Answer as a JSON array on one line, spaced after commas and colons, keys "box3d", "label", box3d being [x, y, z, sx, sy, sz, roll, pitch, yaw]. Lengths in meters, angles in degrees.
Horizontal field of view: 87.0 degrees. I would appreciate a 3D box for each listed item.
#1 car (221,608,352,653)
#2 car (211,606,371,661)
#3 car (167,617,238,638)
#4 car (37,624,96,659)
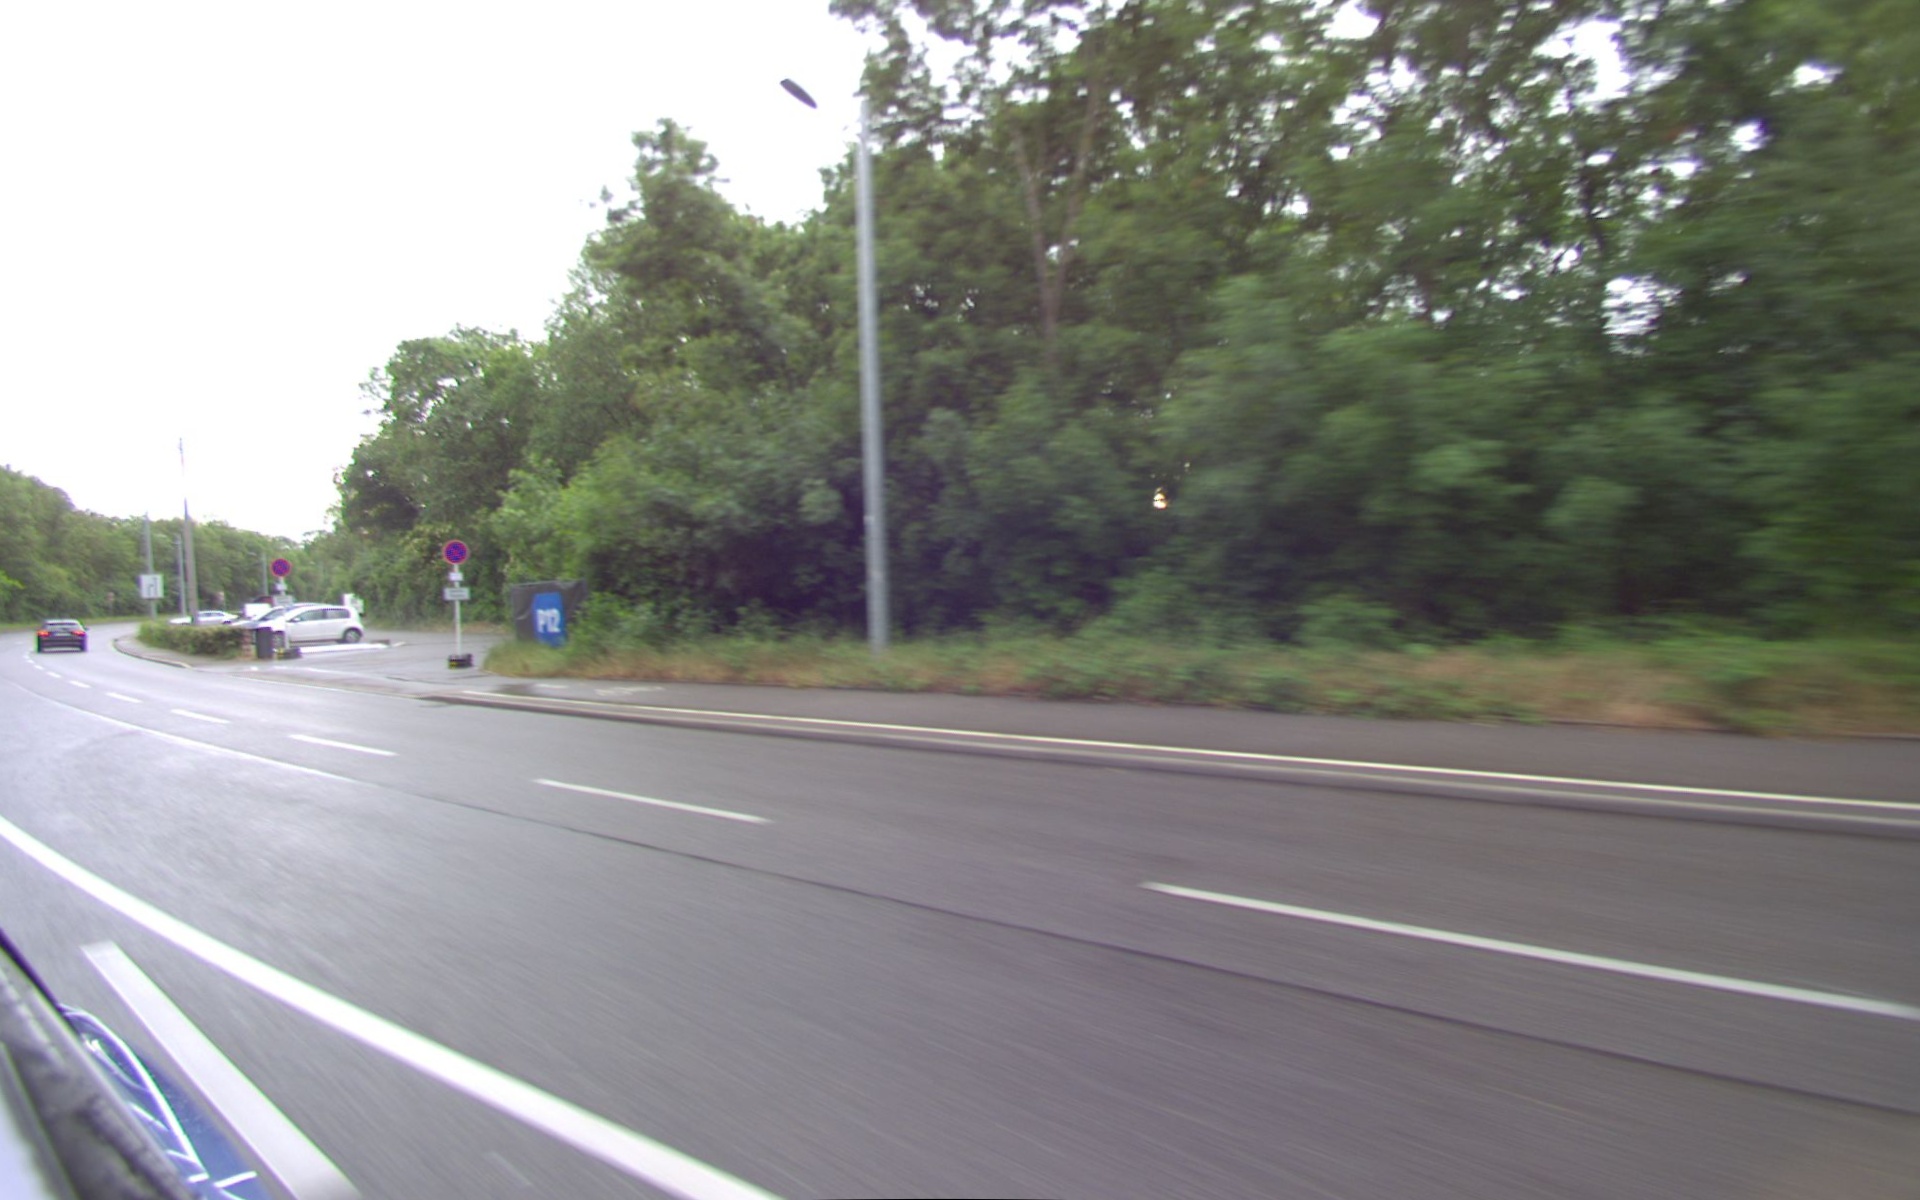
[{"box3d": [-28.334, 1.230, 42.674, 4.319, 1.613, 1.758, -3, 2, -43], "label": "car"}, {"box3d": [-25.043, 1.207, 37.980, 1.896, 1.729, 4.688, 0, 2, 45], "label": "car"}, {"box3d": [-58.442, 2.129, 78.110, 4.149, 1.495, 1.909, -1, 0, -45], "label": "car"}, {"box3d": [-41.148, 1.881, 46.660, 1.829, 1.484, 3.920, 0, -1, -38], "label": "car"}]
